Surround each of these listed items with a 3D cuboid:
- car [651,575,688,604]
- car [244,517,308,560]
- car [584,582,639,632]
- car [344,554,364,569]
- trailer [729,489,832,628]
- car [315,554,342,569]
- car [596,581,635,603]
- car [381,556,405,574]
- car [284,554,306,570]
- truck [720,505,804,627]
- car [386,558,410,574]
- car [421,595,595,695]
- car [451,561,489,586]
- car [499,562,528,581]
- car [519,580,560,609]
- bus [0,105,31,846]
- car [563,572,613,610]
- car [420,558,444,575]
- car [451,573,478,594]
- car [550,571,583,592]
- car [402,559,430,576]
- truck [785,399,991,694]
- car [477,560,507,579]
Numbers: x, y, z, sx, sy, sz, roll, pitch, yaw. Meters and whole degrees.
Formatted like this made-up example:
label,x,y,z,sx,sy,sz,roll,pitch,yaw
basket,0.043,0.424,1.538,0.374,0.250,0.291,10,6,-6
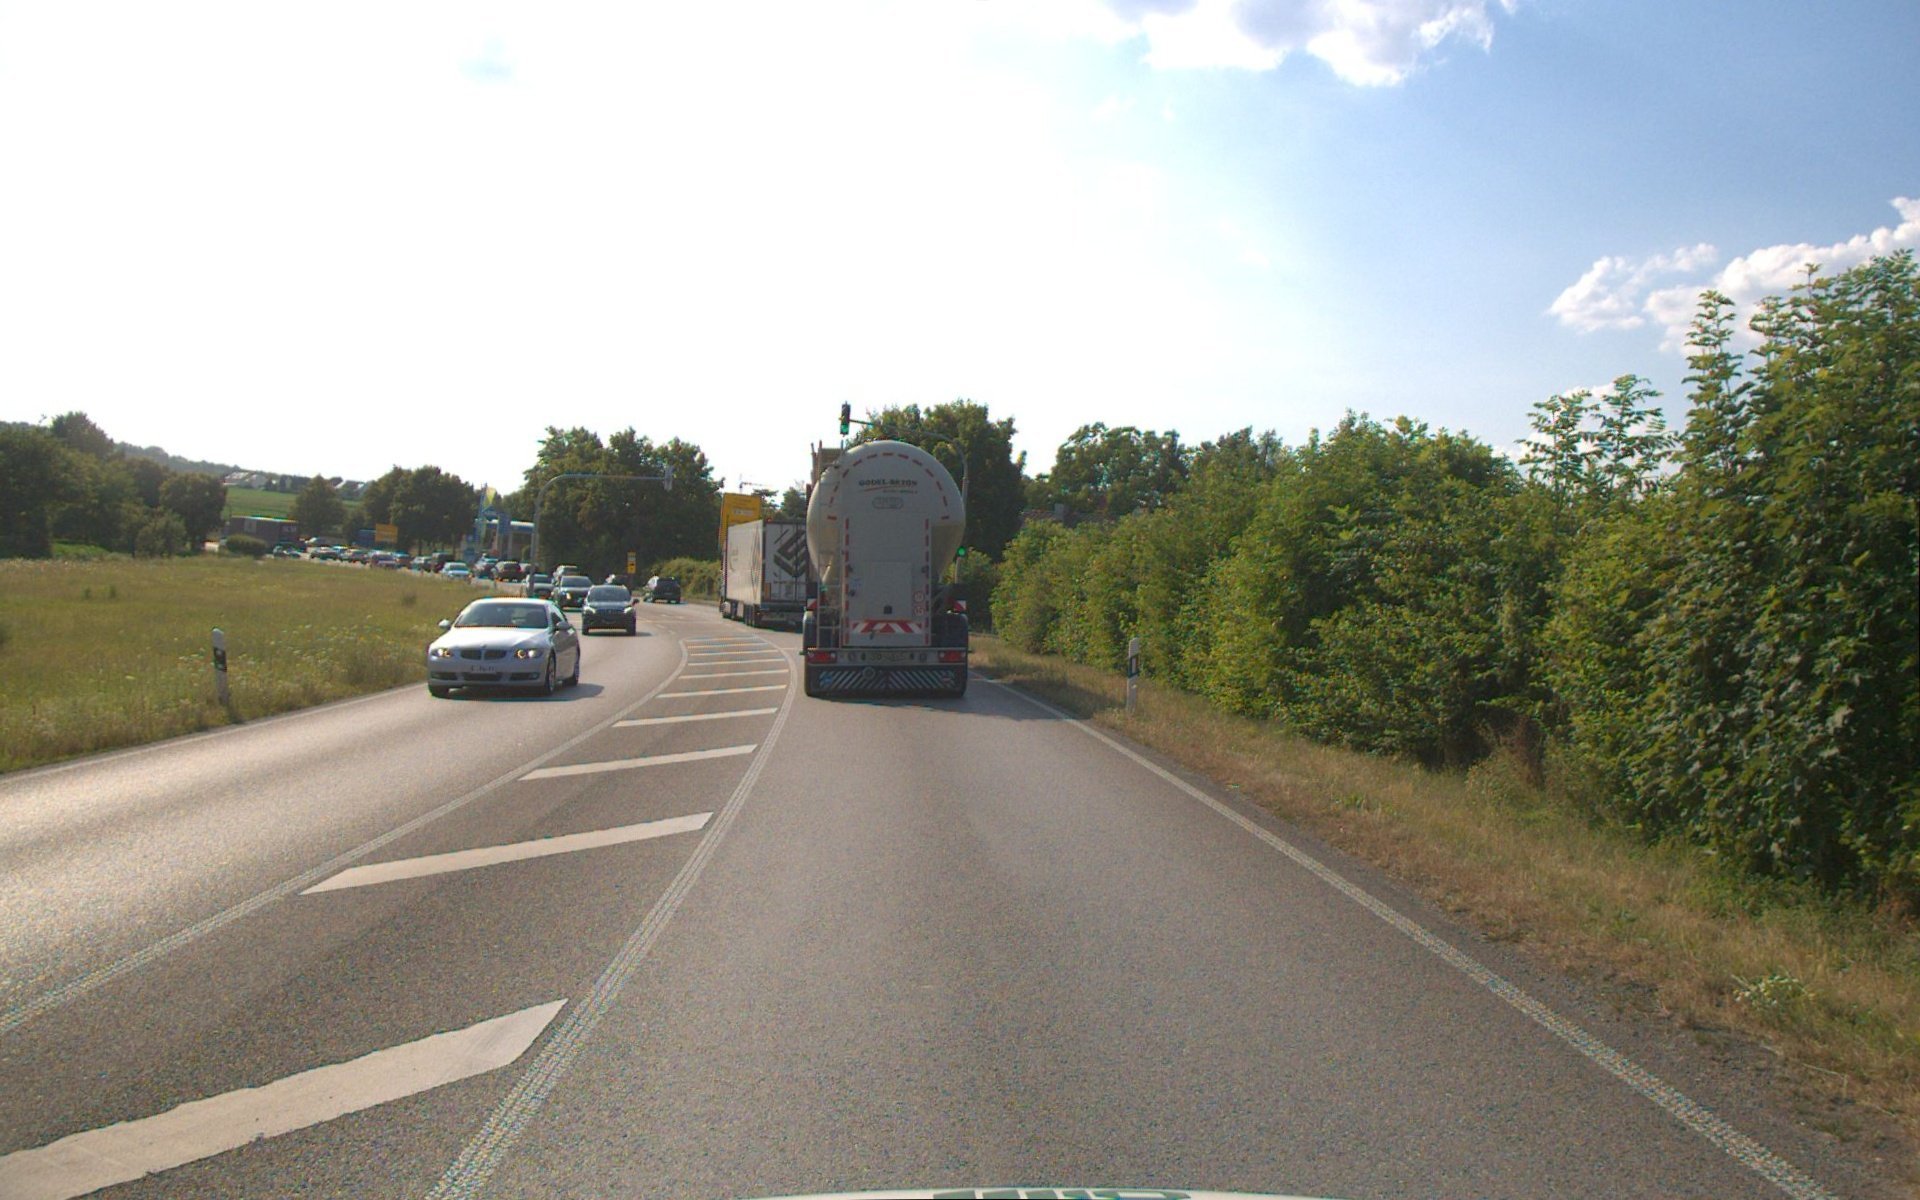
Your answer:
label,x,y,z,sx,sy,sz,roll,pitch,yaw
car,-17.727,-0.625,100.864,1.960,1.685,3.985,2,-1,-14
car,-85.768,-7.708,207.176,3.520,5.147,13.050,2,0,-40
car,-11.649,0.249,55.391,1.665,1.580,4.140,2,-1,-12
car,-69.146,-4.386,188.740,1.857,1.627,3.971,2,0,-24
trailer,-7.249,-1.452,65.347,2.912,4.967,10.256,2,-1,-12
car,-73.928,-4.545,193.651,1.869,1.627,3.945,2,0,-39
car,-24.321,-0.566,116.684,1.663,1.493,3.966,2,-1,-26
car,-54.455,-3.390,158.818,1.855,1.627,3.974,2,0,-22
car,-74.606,-4.276,185.472,1.860,1.627,3.965,2,0,-27
truck,-8.678,-1.377,72.066,2.911,4.972,6.410,2,-1,-12
car,-60.334,-3.632,177.505,1.860,1.627,3.965,2,0,-27
car,-6.784,0.638,25.307,1.666,1.357,4.745,1,0,-5
car,-34.369,-1.878,115.927,1.859,1.627,3.966,2,0,-27
car,-39.529,-2.545,146.363,1.857,1.627,3.971,2,0,-24
car,-25.280,-0.316,99.387,1.816,1.685,3.972,2,-1,-22
bus,-4.759,-0.346,0.165,2.738,3.237,12.120,2,-1,-2
car,-18.028,-0.457,80.265,1.956,1.755,4.418,2,1,-8
car,-52.688,-3.334,164.989,1.857,1.627,3.970,2,0,-24
car,-40.262,-1.340,134.321,1.854,1.627,3.977,2,0,-20
car,-33.432,-1.527,140.387,1.819,1.685,3.966,2,-1,-26
car,-56.446,-3.352,171.650,2.061,1.627,3.964,2,0,-28
truck,-1.609,-0.698,30.144,2.918,4.248,11.647,2,-1,-6
car,-43.508,-2.815,153.732,2.058,1.627,3.970,2,0,-24
